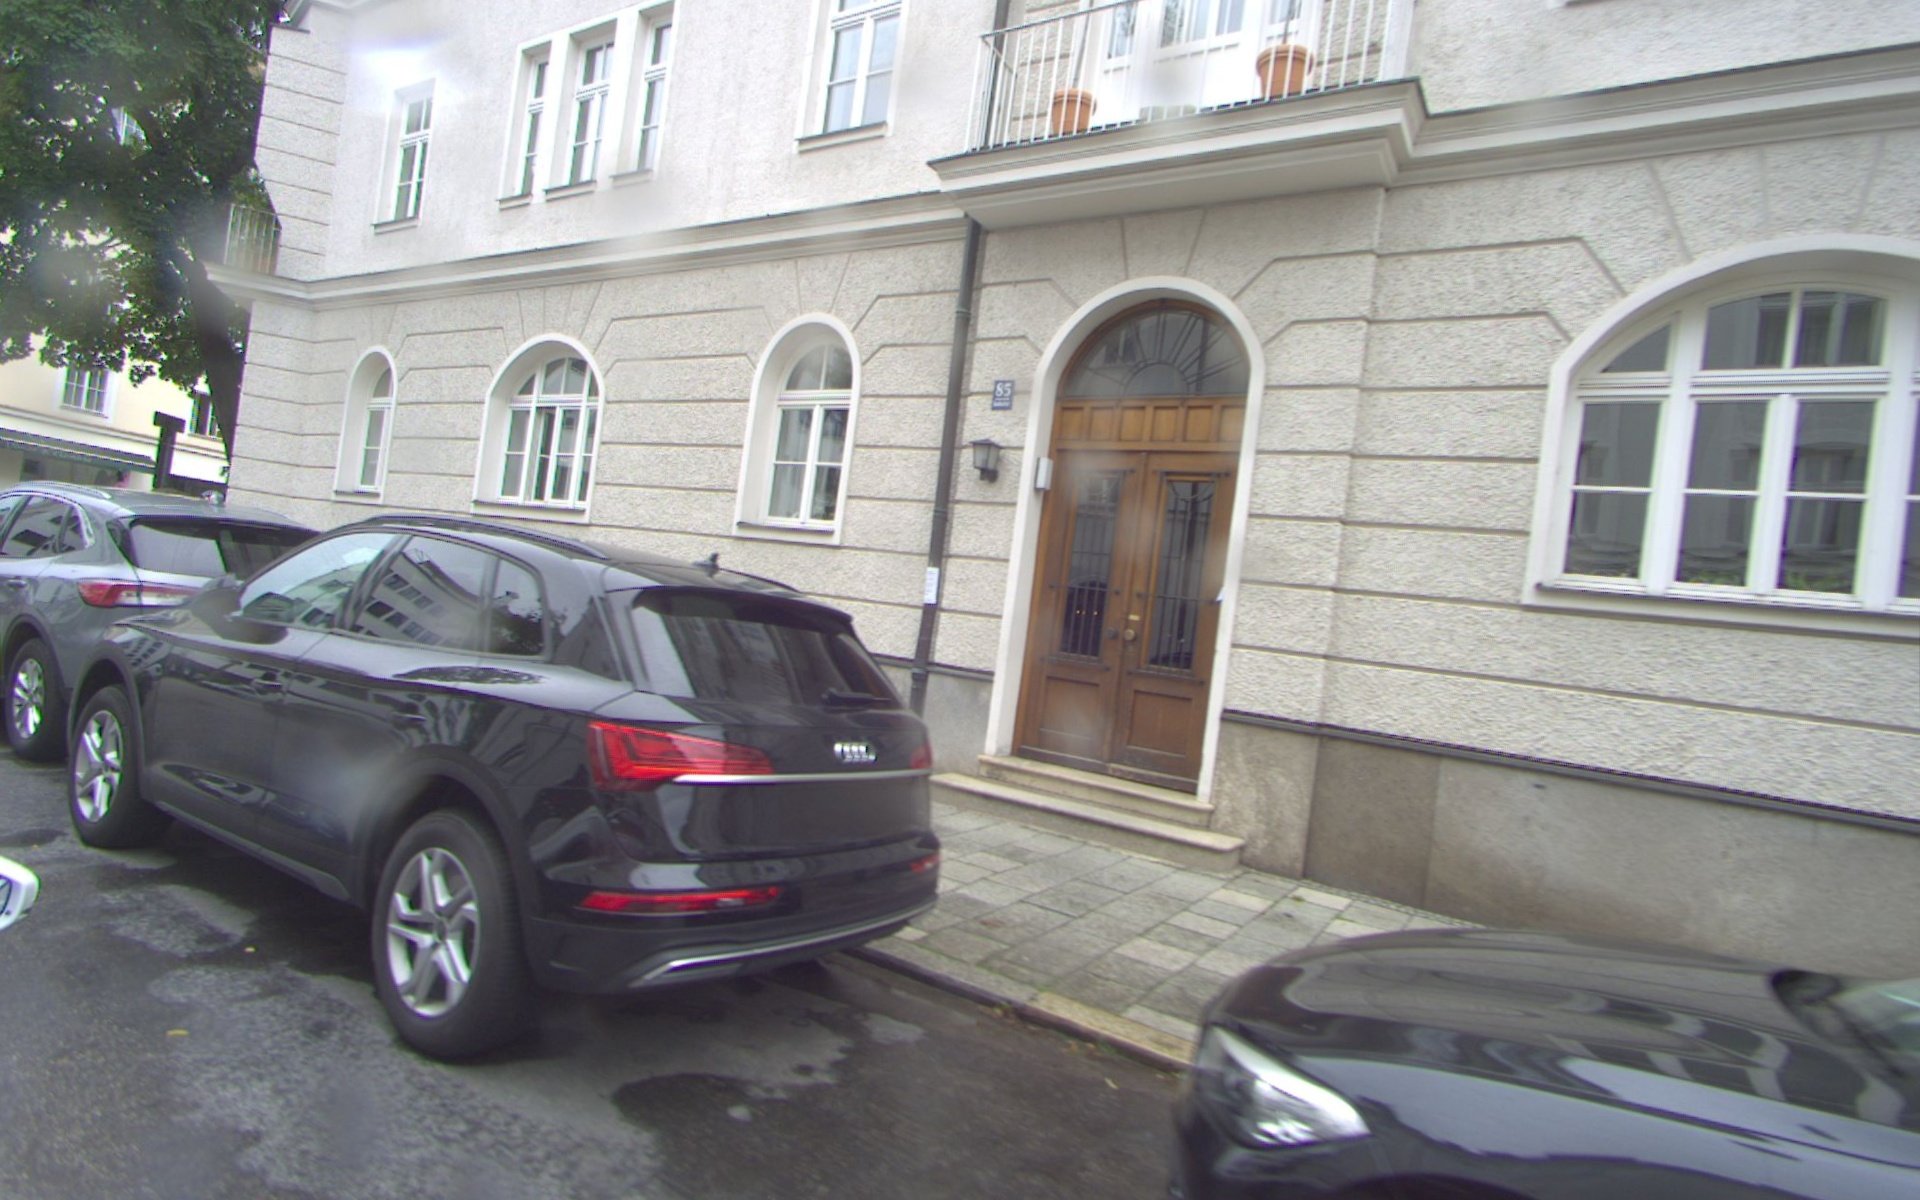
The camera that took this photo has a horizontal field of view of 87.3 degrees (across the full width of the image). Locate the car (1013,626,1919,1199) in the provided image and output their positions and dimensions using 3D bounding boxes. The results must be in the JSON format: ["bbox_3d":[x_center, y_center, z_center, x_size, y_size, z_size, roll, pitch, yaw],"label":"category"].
[{"bbox_3d":[2.327,1.088,1.614,4.133,1.488,1.709,7,-2,34],"label":"car"}]

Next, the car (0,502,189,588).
[{"bbox_3d":[-23.203,-1.421,26.386,1.787,1.609,4.354,5,-3,20],"label":"car"}]

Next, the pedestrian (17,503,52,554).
[{"bbox_3d":[-28.343,-2.184,30.829,0.507,1.450,0.579,8,-1,-28],"label":"pedestrian"}]

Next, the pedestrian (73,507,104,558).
[{"bbox_3d":[-28.220,-2.193,32.588,0.554,1.555,0.430,9,0,-39],"label":"pedestrian"}]

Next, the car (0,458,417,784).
[{"bbox_3d":[-6.205,-0.002,7.317,4.351,1.733,1.794,7,-1,30],"label":"car"}]

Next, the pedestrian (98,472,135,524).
[{"bbox_3d":[-28.509,-3.444,34.001,0.567,1.592,0.554,7,-2,21],"label":"pedestrian"}]

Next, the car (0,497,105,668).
[{"bbox_3d":[-10.399,-0.385,9.760,3.841,1.513,1.756,7,-2,27],"label":"car"}]

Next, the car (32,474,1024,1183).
[{"bbox_3d":[-2.113,0.530,4.453,4.304,1.654,1.781,7,-3,33],"label":"car"}]

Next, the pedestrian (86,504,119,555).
[{"bbox_3d":[-28.351,-2.331,33.274,0.525,1.569,0.435,7,-1,3],"label":"pedestrian"}]
